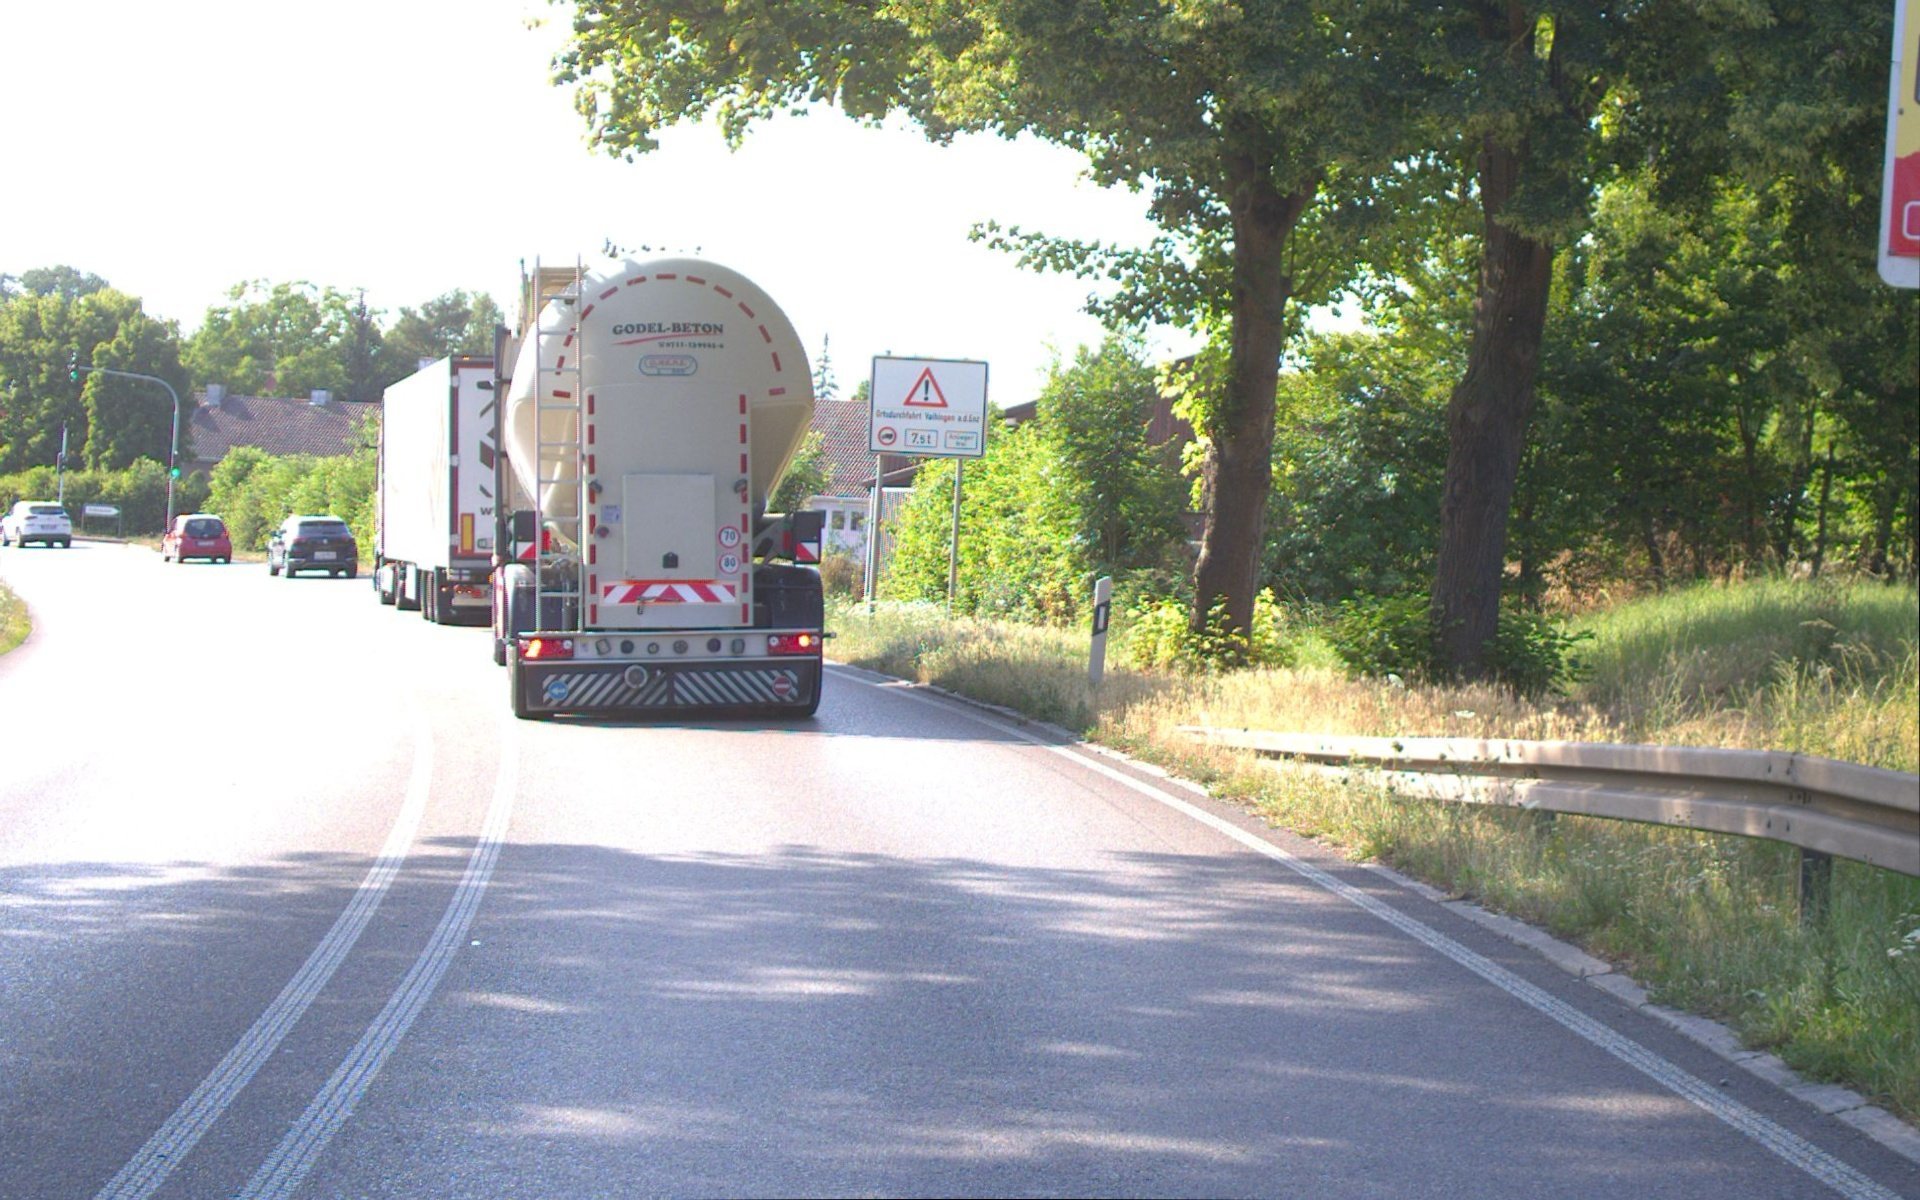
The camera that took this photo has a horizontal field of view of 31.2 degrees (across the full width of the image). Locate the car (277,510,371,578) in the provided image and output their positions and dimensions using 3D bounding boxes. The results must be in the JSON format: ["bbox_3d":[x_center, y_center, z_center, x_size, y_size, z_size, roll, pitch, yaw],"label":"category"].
[{"bbox_3d":[-16.198,-1.424,87.481,1.993,1.650,4.001,1,1,-15],"label":"car"}]

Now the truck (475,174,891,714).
[{"bbox_3d":[-2.965,-1.273,32.610,2.975,4.161,11.665,1,1,-9],"label":"truck"}]

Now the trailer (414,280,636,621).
[{"bbox_3d":[-7.085,-2.213,54.709,2.963,4.865,10.291,1,1,-10],"label":"trailer"}]

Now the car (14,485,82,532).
[{"bbox_3d":[-33.153,-3.315,124.915,1.841,1.650,4.001,1,1,-22],"label":"car"}]

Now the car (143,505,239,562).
[{"bbox_3d":[-23.345,-2.001,104.302,2.299,1.650,4.416,1,1,-20],"label":"car"}]
